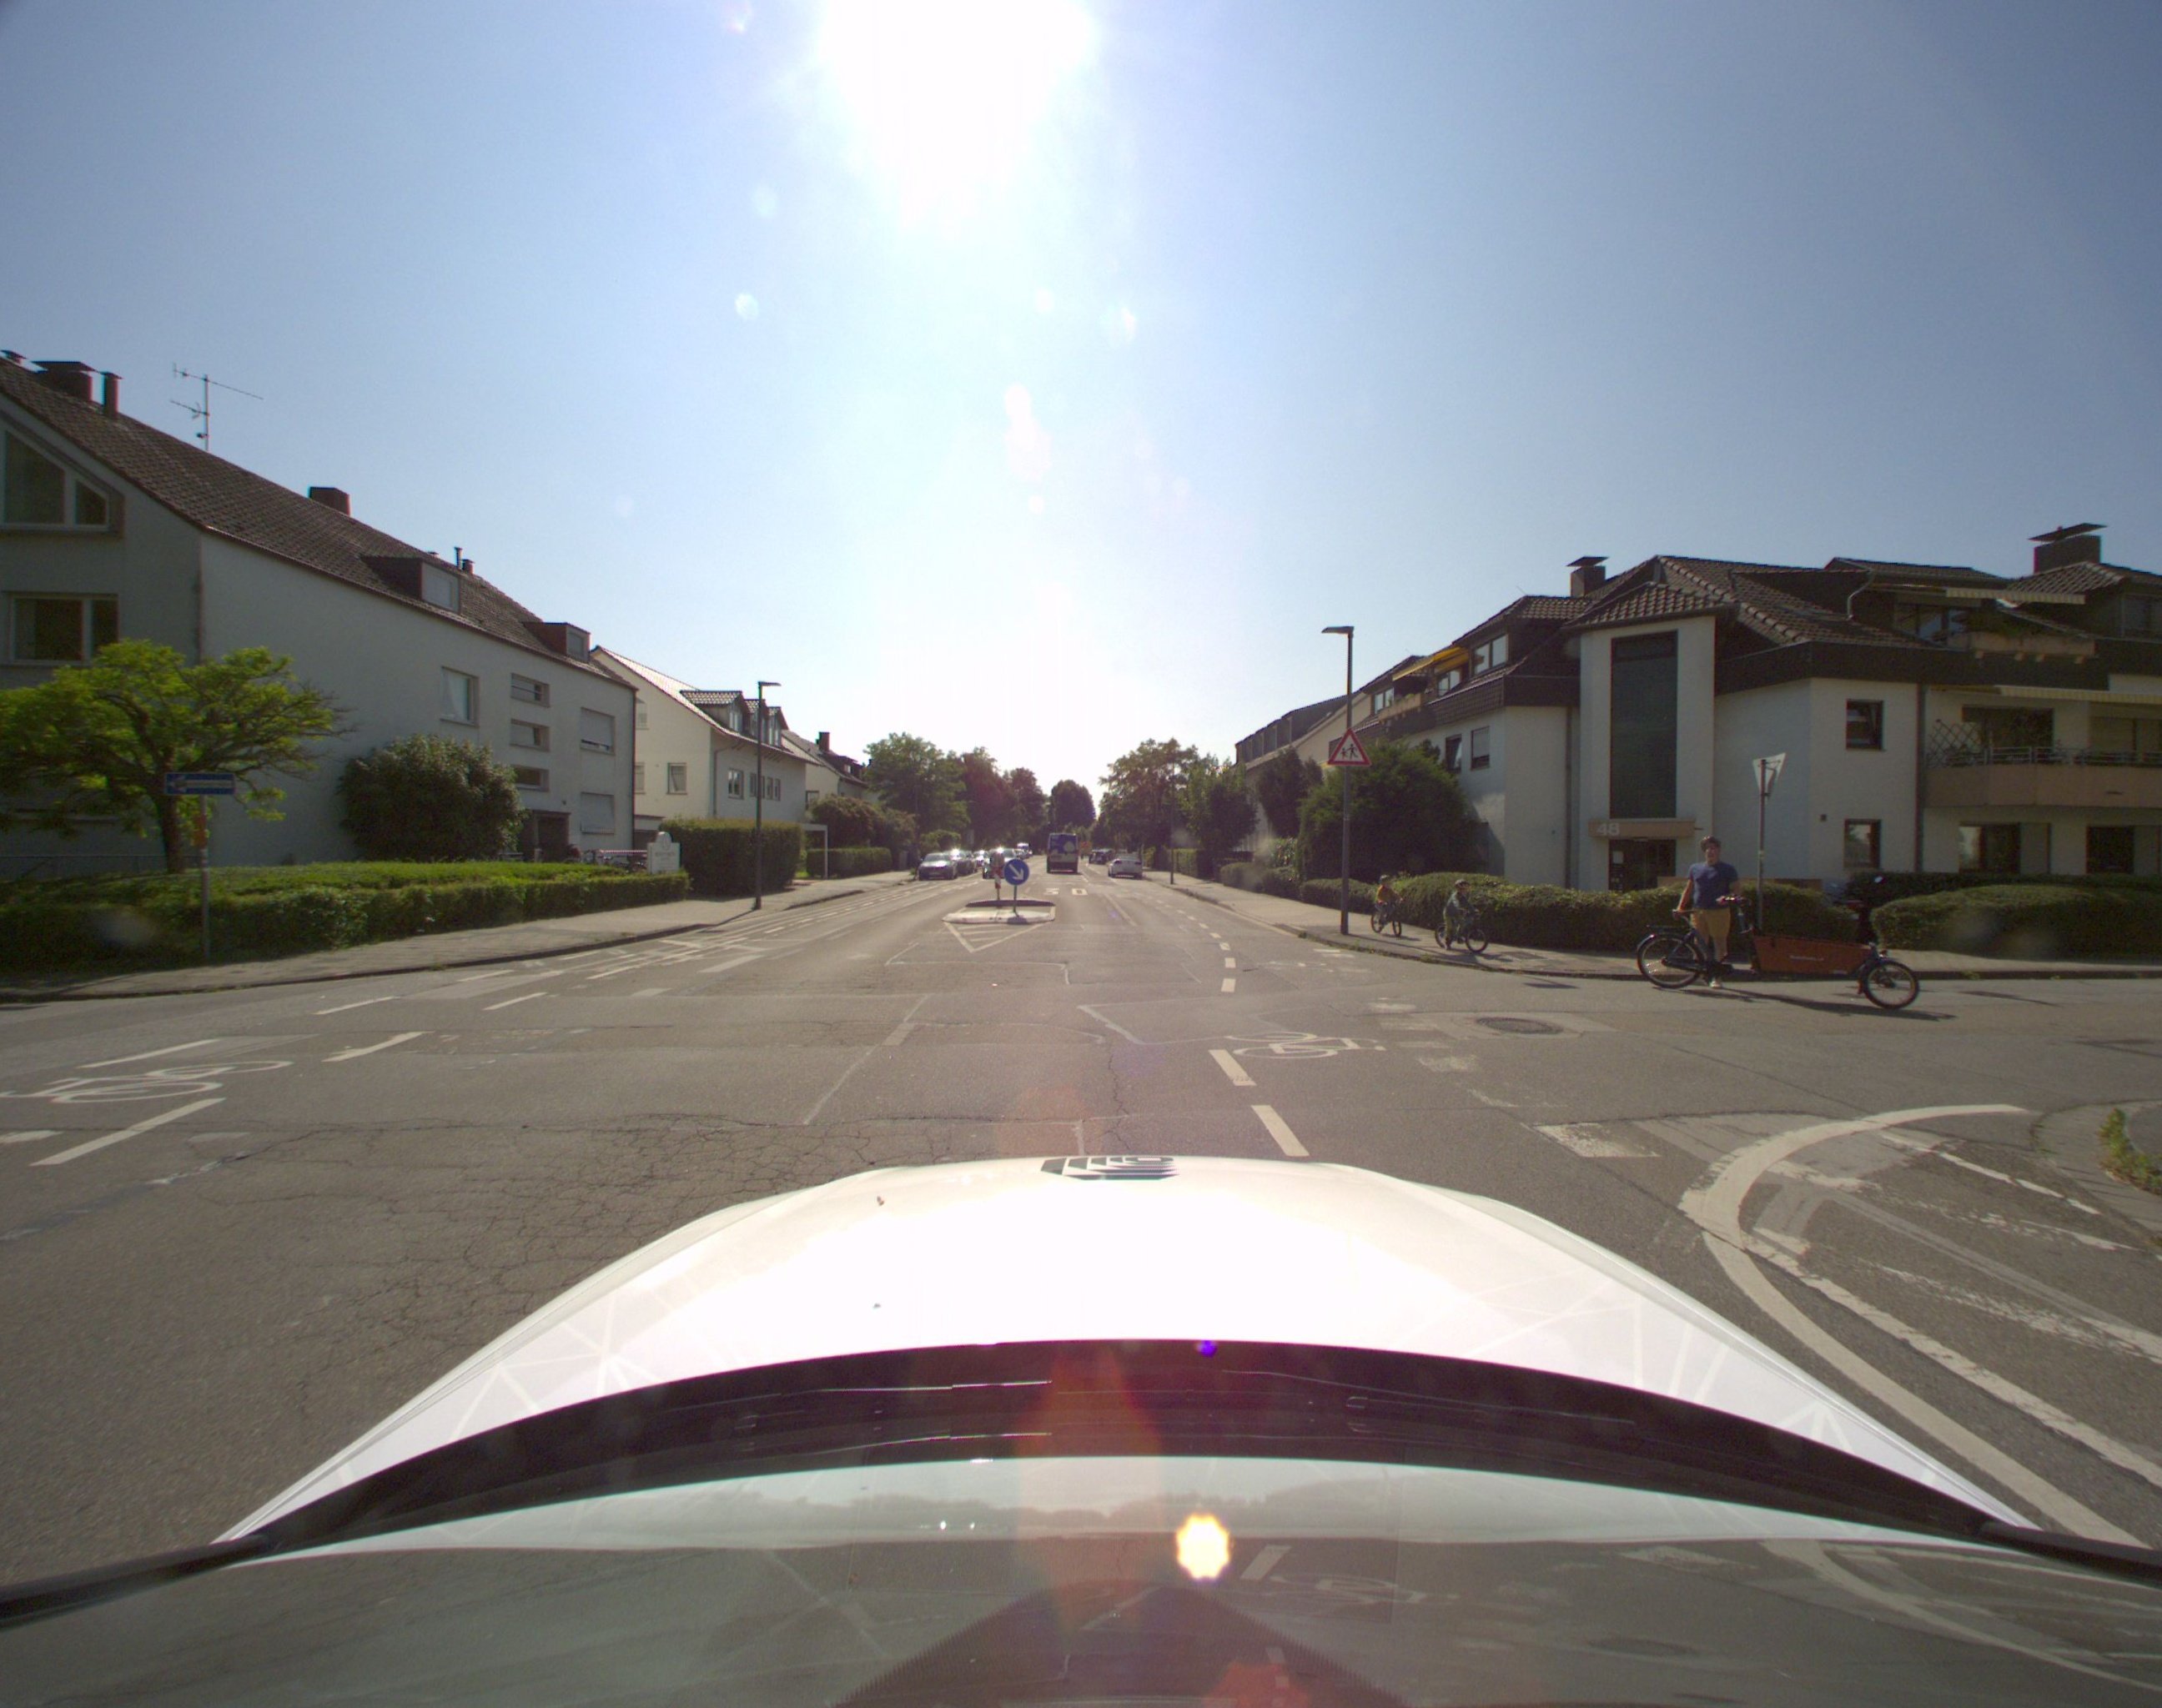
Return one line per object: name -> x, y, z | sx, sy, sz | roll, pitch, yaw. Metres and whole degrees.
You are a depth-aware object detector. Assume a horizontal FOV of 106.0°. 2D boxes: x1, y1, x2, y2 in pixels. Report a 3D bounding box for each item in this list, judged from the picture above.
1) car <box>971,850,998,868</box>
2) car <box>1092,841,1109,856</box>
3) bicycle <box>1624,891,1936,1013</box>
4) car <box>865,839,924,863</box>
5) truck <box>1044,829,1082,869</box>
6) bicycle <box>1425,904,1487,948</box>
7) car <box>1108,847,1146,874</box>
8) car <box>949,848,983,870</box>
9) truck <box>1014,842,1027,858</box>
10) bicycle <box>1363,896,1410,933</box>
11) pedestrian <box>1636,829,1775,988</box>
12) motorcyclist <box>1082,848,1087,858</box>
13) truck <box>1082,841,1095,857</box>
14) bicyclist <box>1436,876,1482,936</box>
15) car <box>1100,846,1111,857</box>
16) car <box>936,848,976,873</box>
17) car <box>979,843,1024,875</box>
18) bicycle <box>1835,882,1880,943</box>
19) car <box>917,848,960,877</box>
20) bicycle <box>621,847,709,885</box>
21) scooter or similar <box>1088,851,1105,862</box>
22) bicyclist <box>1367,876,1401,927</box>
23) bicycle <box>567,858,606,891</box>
car -> -7.829, 0.364, 66.545 | 1.780, 1.440, 3.998 | 0, 0, -1
car -> 2.255, -0.621, 95.080 | 1.779, 1.638, 4.469 | 1, 1, -1
bicycle -> 8.022, 1.071, 9.585 | 2.677, 1.158, 0.869 | 1, 0, 31
car -> -14.167, -0.209, 62.020 | 3.975, 1.759, 1.999 | 1, 1, -1
truck -> -1.244, -0.342, 54.530 | 2.269, 2.571, 4.384 | 0, 0, -5
bicycle -> 6.031, 1.140, 13.136 | 0.400, 0.599, 1.172 | 0, 0, -4
car -> 2.621, 0.353, 47.085 | 1.736, 1.402, 4.070 | 3, 1, -2
car -> -7.841, 0.301, 55.689 | 1.780, 1.440, 3.999 | 1, 0, -1
truck -> -10.157, -0.696, 136.573 | 2.077, 2.537, 5.459 | 0, 0, -4
bicycle -> 5.727, 1.129, 15.299 | 0.400, 0.599, 1.150 | 0, 0, -4
pedestrian -> 7.910, 0.643, 10.338 | 0.905, 1.872, 1.176 | 1, 0, -34
motorcyclist -> 0.486, -0.136, 117.160 | 0.670, 1.518, 0.652 | 0, 0, -1
truck -> 1.377, -0.986, 153.707 | 2.208, 2.946, 5.683 | 0, 0, -1
bicyclist -> 6.046, 0.821, 13.047 | 0.400, 0.929, 0.657 | 0, 0, -4
car -> 3.905, -0.469, 129.225 | 1.694, 1.677, 3.776 | -1, 0, 2
car -> -7.637, 0.340, 50.058 | 1.779, 1.440, 4.110 | -1, 1, 0
car -> -4.396, 0.238, 45.462 | 1.907, 1.666, 4.508 | -1, 0, 2
bicycle -> 16.062, 1.174, 16.841 | 1.695, 1.095, 0.624 | -2, 2, -45
car -> -7.500, 0.409, 43.225 | 1.782, 1.440, 4.149 | -1, 1, -4
bicycle -> -13.326, 0.376, 26.124 | 2.448, 1.106, 0.532 | 0, 6, -33
scooter or similar -> 1.778, 0.306, 92.331 | 1.775, 1.154, 0.724 | 4, 0, 43
bicyclist -> 5.715, 0.883, 15.368 | 0.398, 0.933, 0.608 | 0, 0, -4
bicycle -> -13.718, 0.555, 22.606 | 0.333, 0.874, 1.366 | 5, -1, -7
